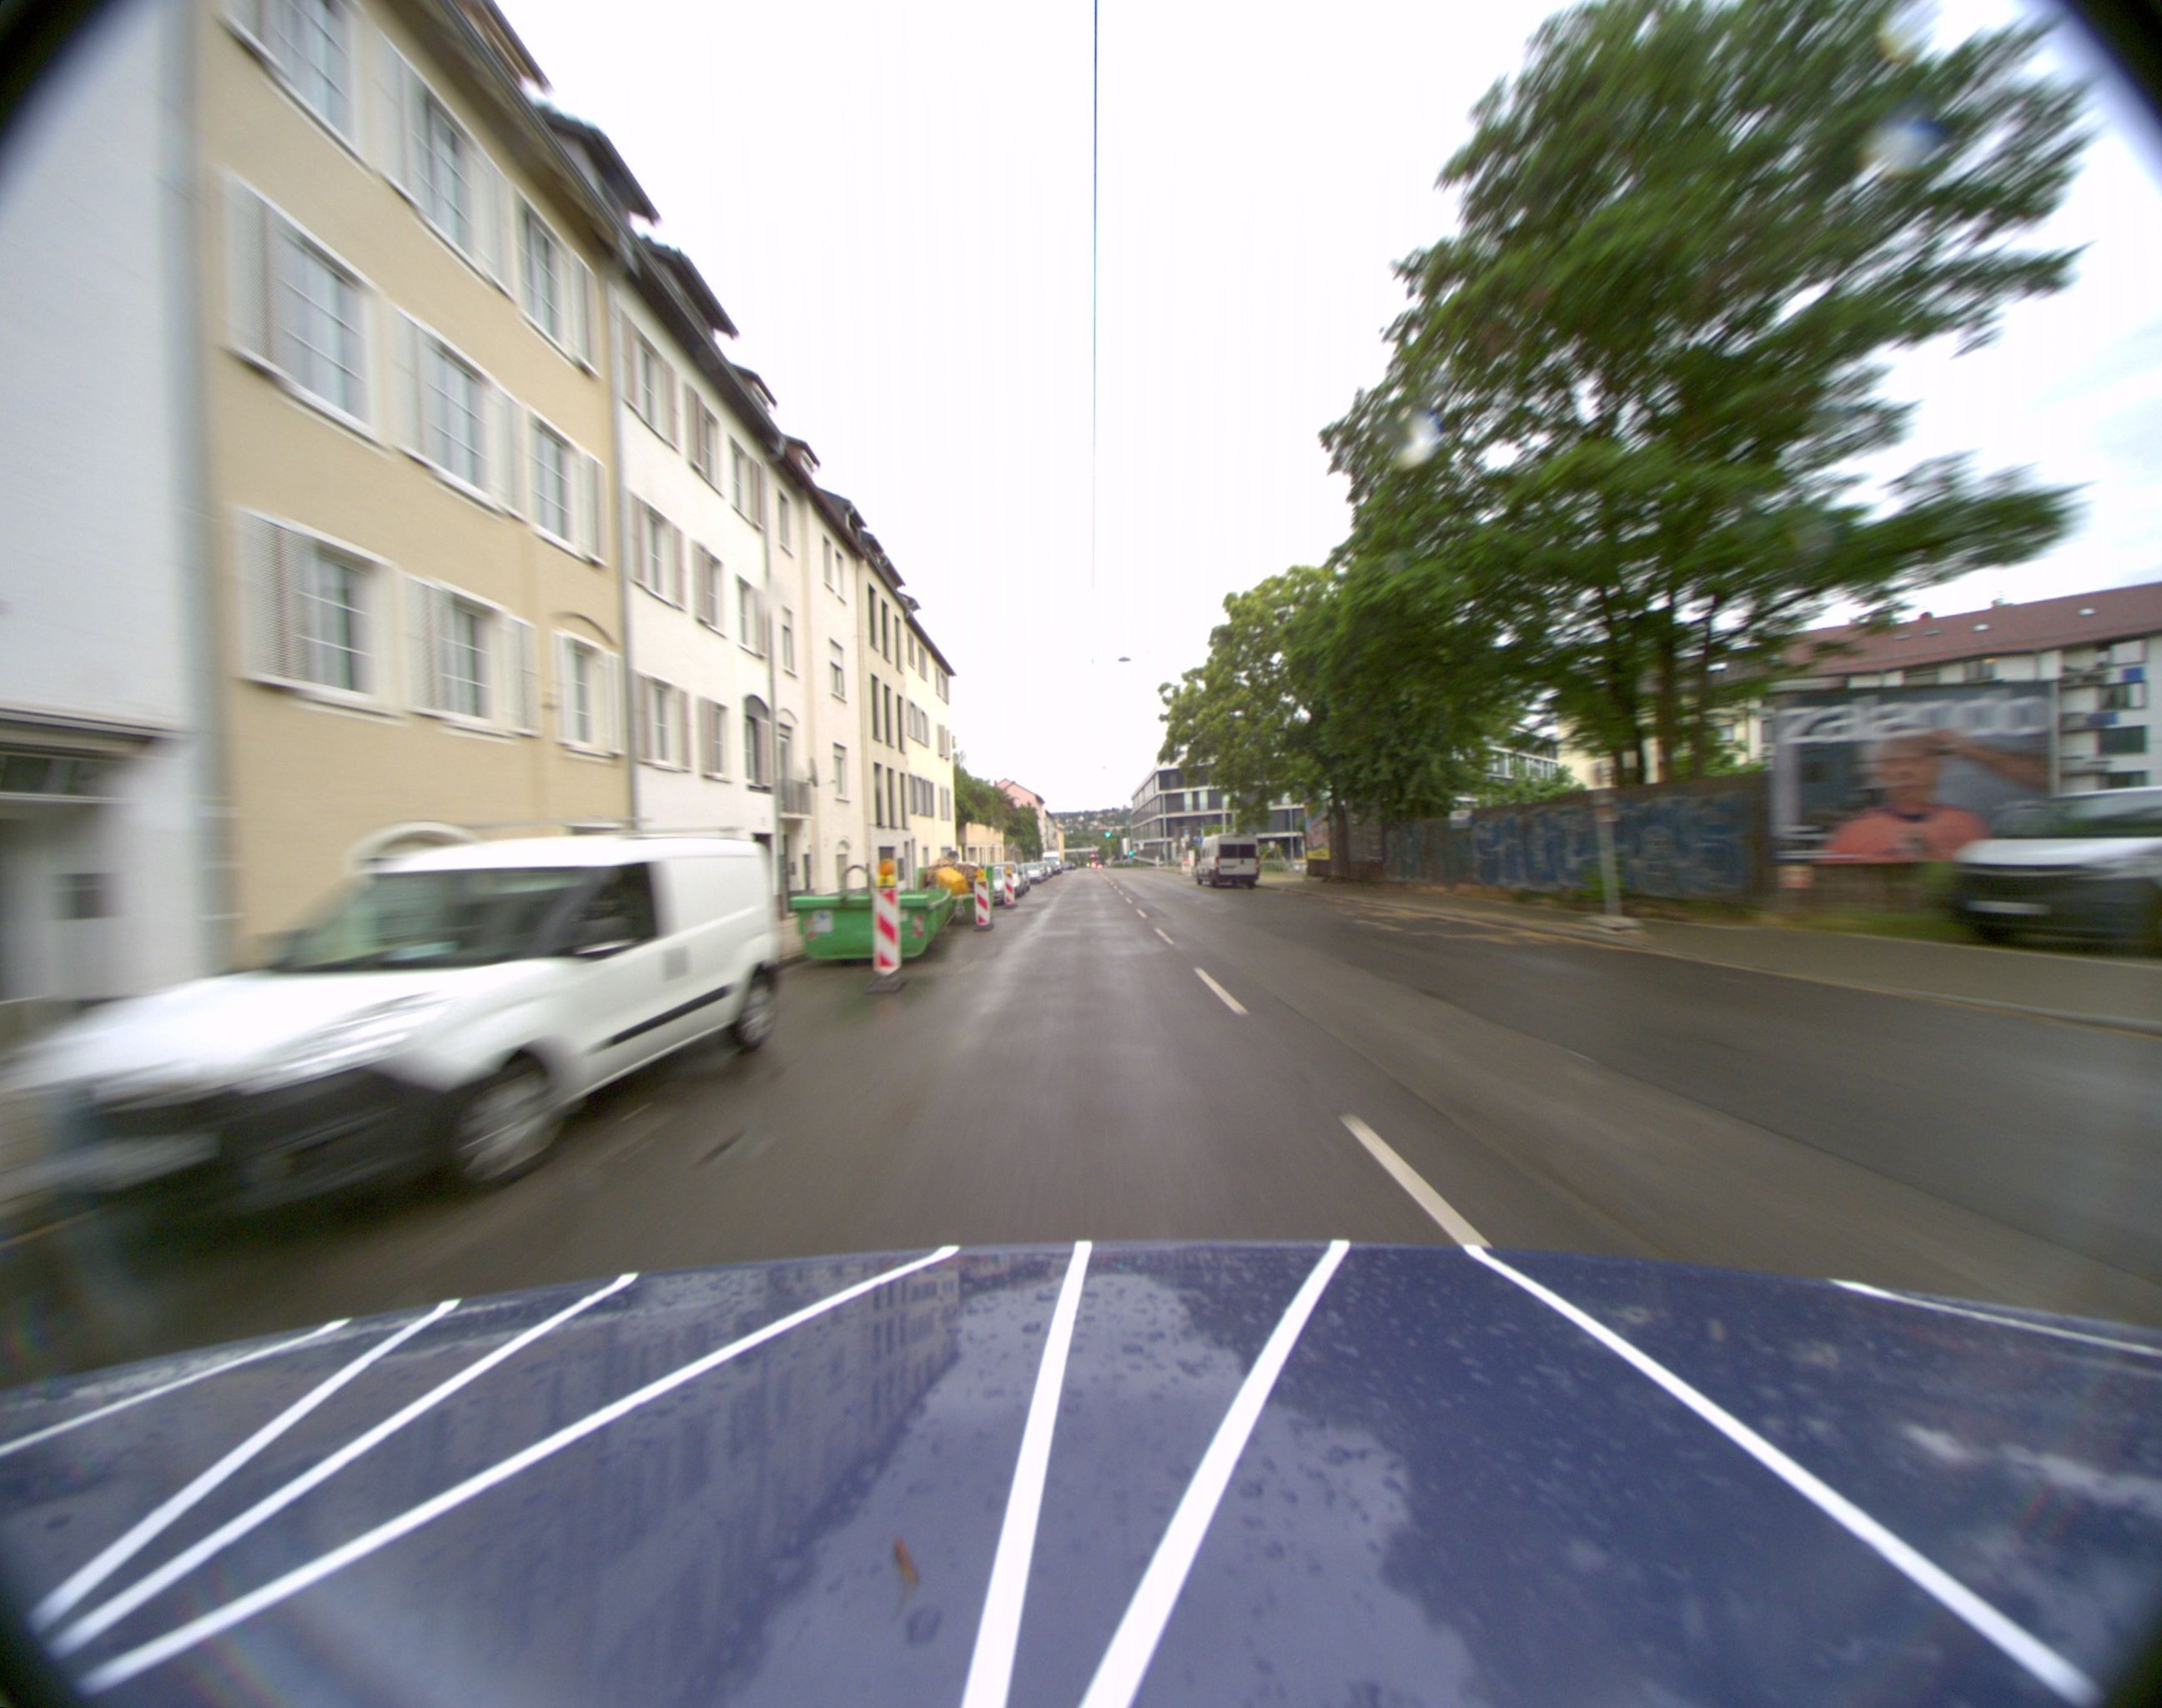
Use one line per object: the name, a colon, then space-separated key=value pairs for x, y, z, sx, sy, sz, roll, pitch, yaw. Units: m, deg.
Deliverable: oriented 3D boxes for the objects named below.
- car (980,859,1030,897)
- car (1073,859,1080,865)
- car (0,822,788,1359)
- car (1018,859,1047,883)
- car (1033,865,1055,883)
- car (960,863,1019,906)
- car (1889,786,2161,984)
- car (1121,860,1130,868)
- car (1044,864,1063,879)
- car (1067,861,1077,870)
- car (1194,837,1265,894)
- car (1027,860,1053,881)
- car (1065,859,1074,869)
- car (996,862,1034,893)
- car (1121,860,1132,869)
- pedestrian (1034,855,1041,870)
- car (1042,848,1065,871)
car: x=-3.366 y=1.050 z=34.331 sx=1.720 sy=1.515 sz=4.000 roll=-3 pitch=0 yaw=1
car: x=-1.104 y=1.860 z=185.789 sx=1.630 sy=1.402 sz=3.778 roll=-3 pitch=-1 yaw=1
car: x=-3.723 y=0.874 z=4.870 sx=1.822 sy=1.913 sz=4.239 roll=-2 pitch=0 yaw=2
car: x=-3.275 y=1.142 z=51.834 sx=1.633 sy=1.445 sz=3.759 roll=-3 pitch=0 yaw=0
car: x=-3.309 y=1.829 z=69.243 sx=1.693 sy=1.445 sz=4.235 roll=-3 pitch=0 yaw=0
car: x=-3.410 y=1.099 z=28.923 sx=1.630 sy=1.402 sz=3.842 roll=-3 pitch=0 yaw=1
car: x=13.236 y=0.272 z=8.828 sx=5.514 sy=1.997 sz=2.146 roll=-1 pitch=0 yaw=-2
car: x=8.184 y=1.860 z=140.381 sx=1.641 sy=1.458 sz=3.584 roll=-2 pitch=0 yaw=2
car: x=-2.873 y=1.815 z=80.280 sx=1.693 sy=1.445 sz=4.235 roll=-3 pitch=0 yaw=0
car: x=-1.605 y=2.084 z=138.514 sx=1.630 sy=1.402 sz=3.778 roll=-3 pitch=-1 yaw=1
car: x=7.195 y=0.528 z=37.602 sx=2.236 sy=2.564 sz=6.537 roll=0 pitch=0 yaw=0
car: x=-3.100 y=1.221 z=57.826 sx=1.633 sy=1.445 sz=3.759 roll=-3 pitch=0 yaw=0
car: x=-2.152 y=1.887 z=143.632 sx=1.630 sy=1.740 sz=3.778 roll=-3 pitch=-1 yaw=1
car: x=-3.401 y=1.188 z=39.829 sx=1.562 sy=1.445 sz=3.759 roll=-3 pitch=0 yaw=0
car: x=8.171 y=1.859 z=135.376 sx=1.641 sy=1.458 sz=3.583 roll=-2 pitch=0 yaw=-1
pedestrian: x=-5.010 y=1.019 z=86.727 sx=0.725 sy=1.705 sz=0.905 roll=0 pitch=0 yaw=2
car: x=-3.137 y=0.657 z=87.434 sx=2.211 sy=2.449 sz=6.080 roll=-3 pitch=0 yaw=1
